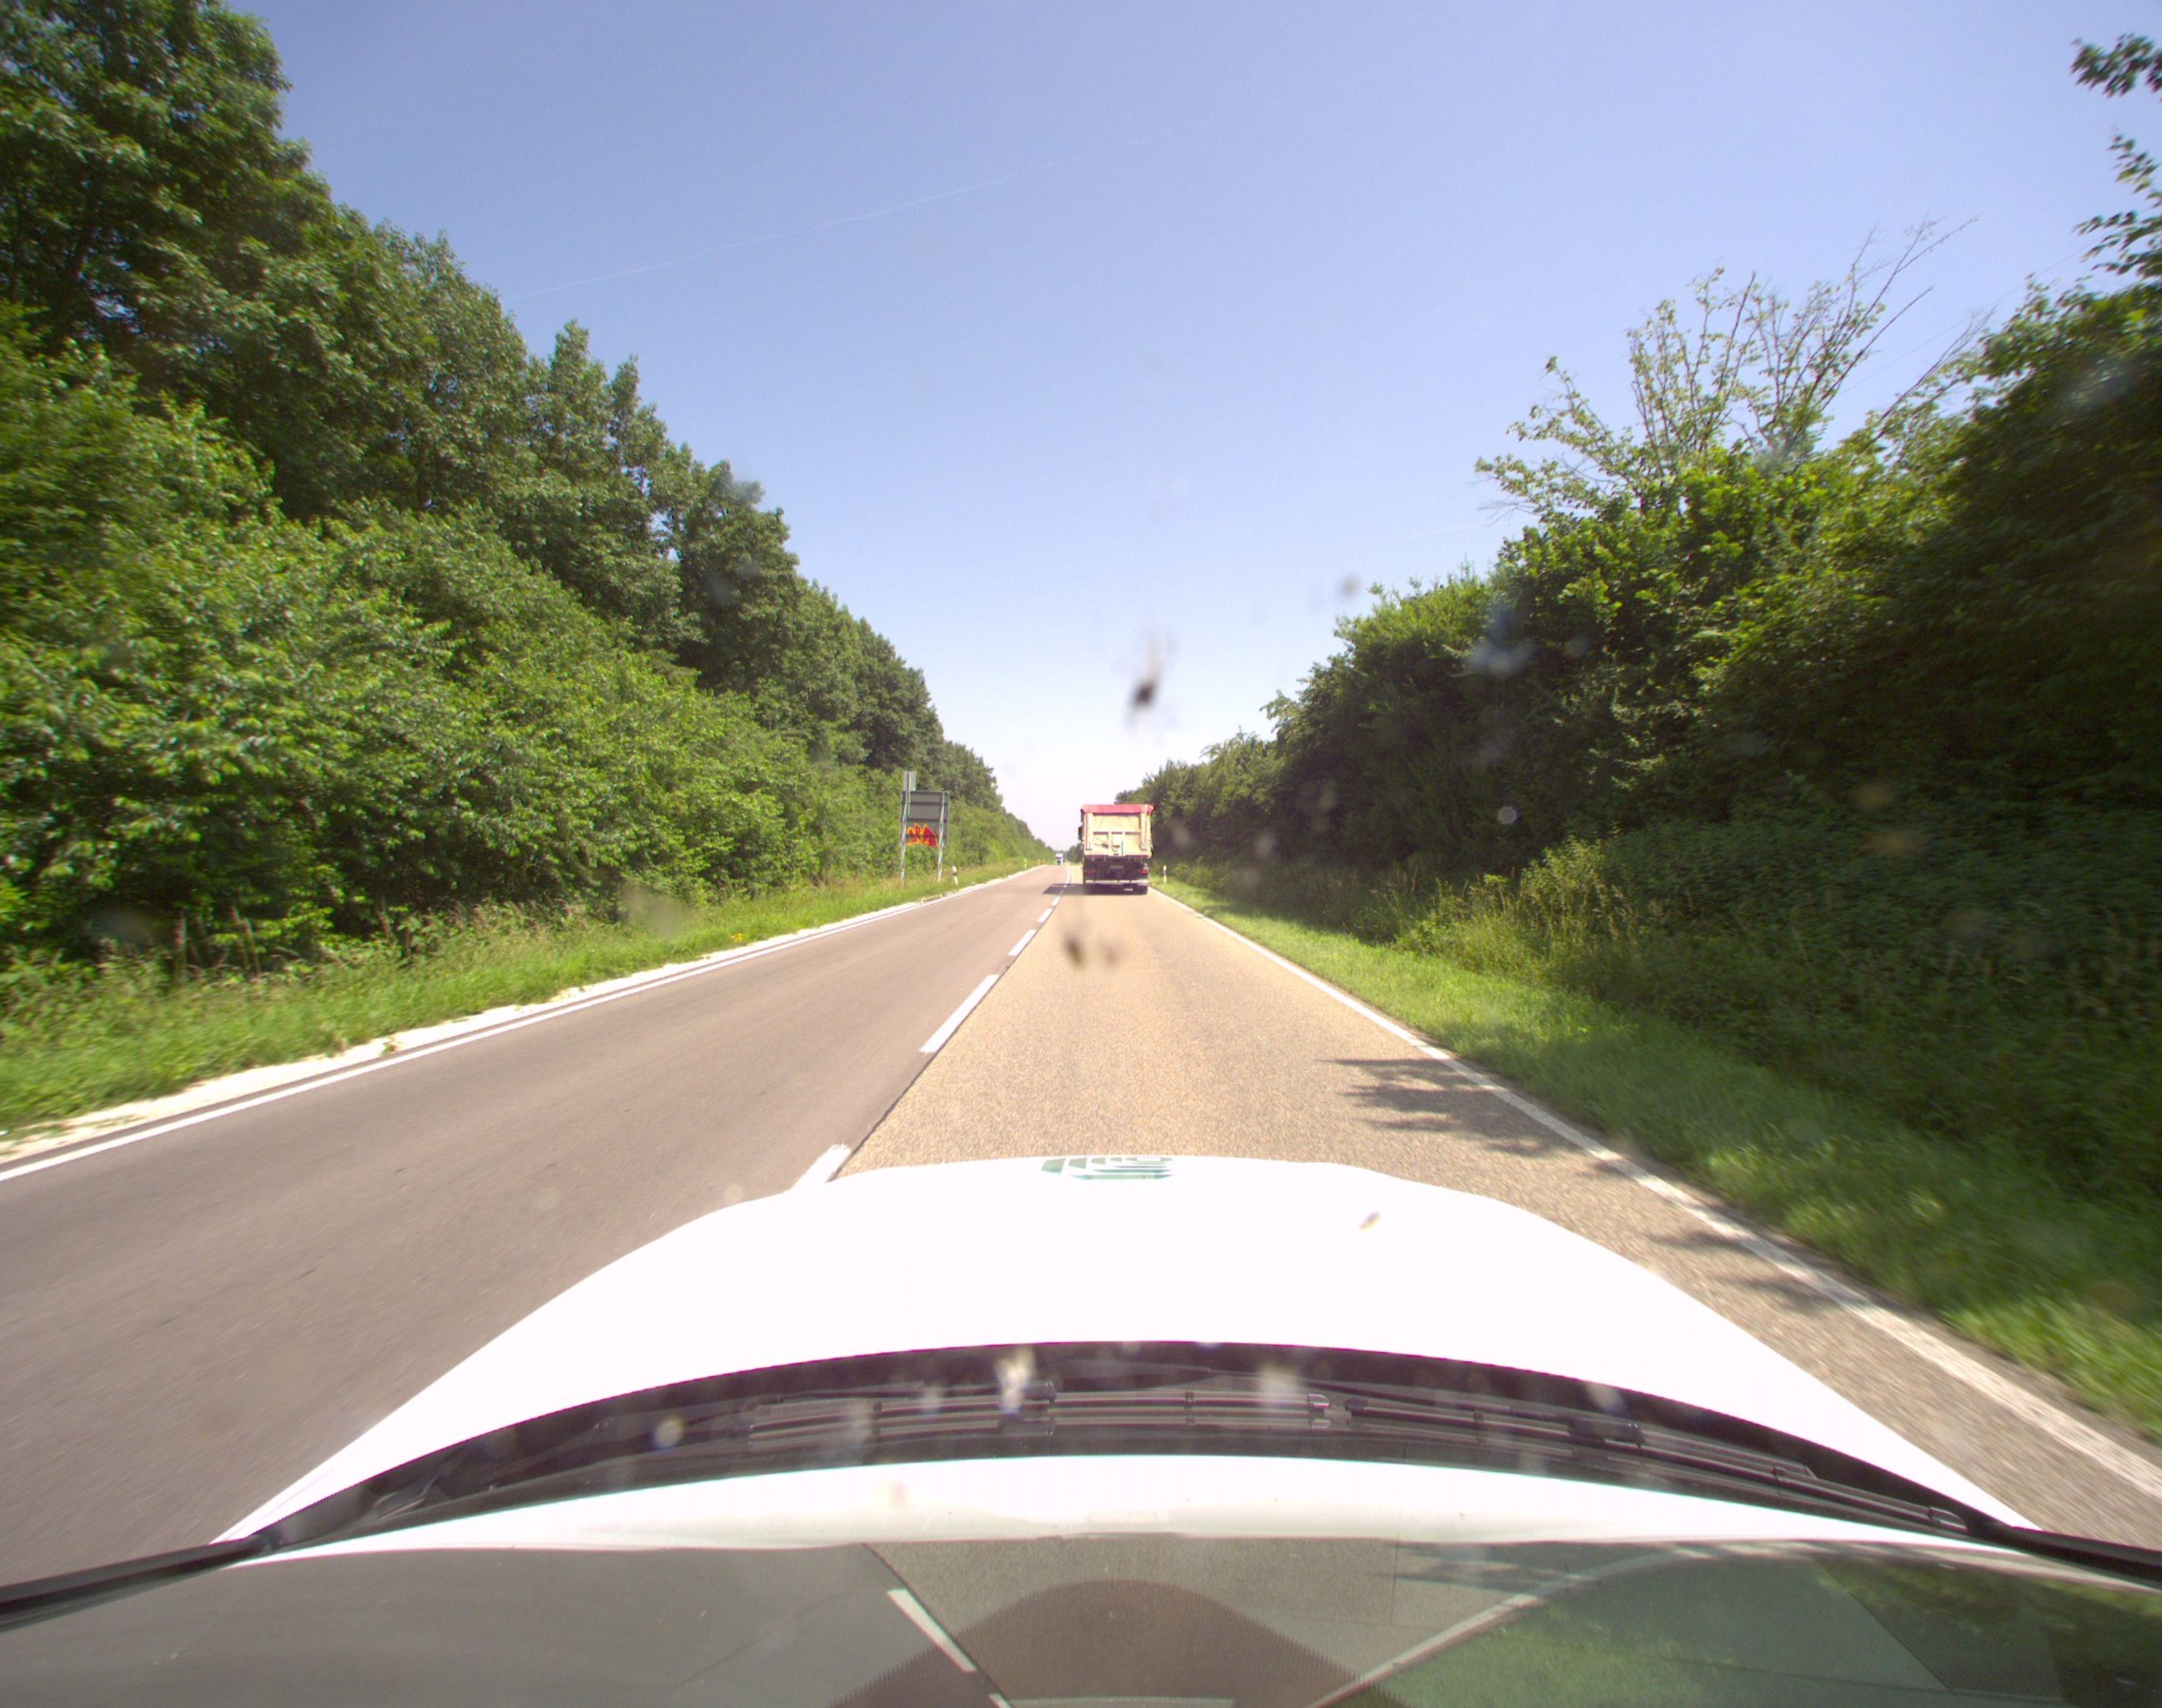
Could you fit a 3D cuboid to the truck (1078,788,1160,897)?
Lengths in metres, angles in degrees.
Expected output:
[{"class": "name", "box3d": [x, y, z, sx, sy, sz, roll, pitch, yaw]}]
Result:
[{"class": "truck", "box3d": [1.360, -0.430, 35.577, 2.885, 3.962, 11.928, -1, 0, -1]}]
